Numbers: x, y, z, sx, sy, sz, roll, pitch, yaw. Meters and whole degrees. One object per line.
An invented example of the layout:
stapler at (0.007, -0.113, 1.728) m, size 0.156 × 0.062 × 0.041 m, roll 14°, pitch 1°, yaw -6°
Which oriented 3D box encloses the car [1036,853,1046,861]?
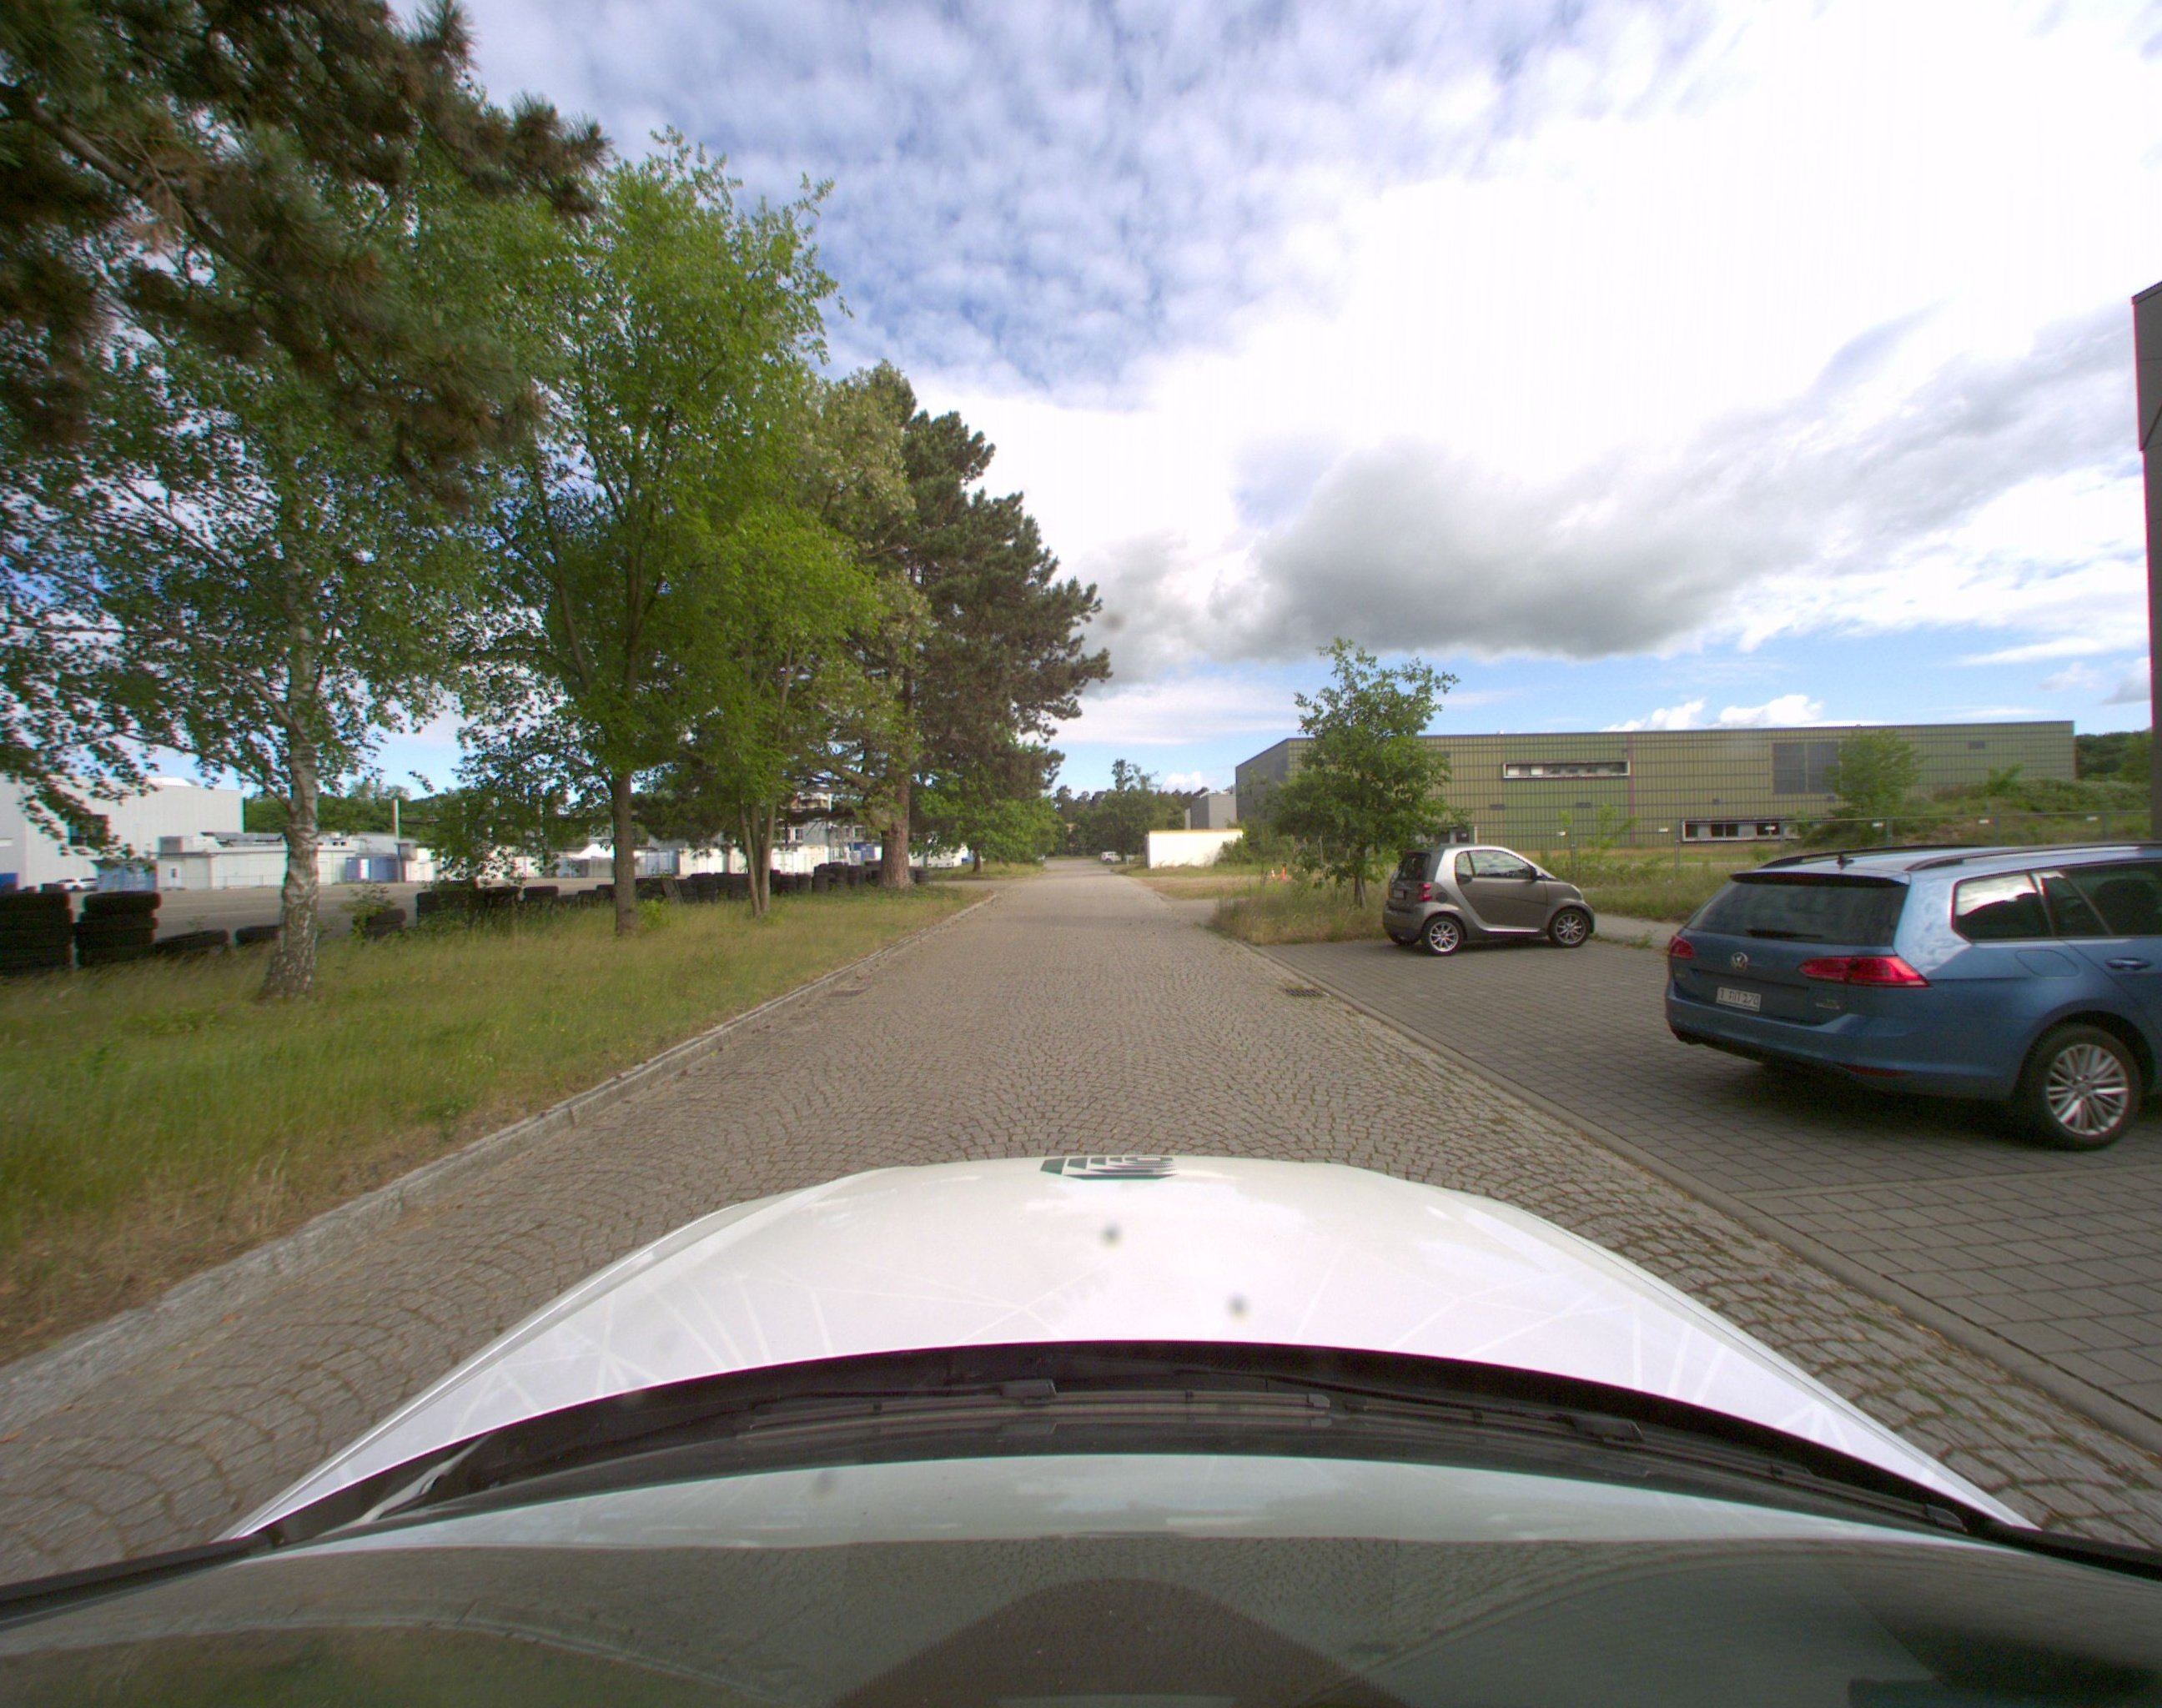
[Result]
car at (-7.584, 0.546, 153.566) m, size 1.745 × 1.454 × 3.996 m, roll -2°, pitch 0°, yaw -3°

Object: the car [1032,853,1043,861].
car at (-7.659, 0.569, 143.365) m, size 1.745 × 1.364 × 3.996 m, roll -2°, pitch 0°, yaw -3°

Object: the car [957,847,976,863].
car at (-18.482, 0.186, 131.603) m, size 1.985 × 2.523 × 5.622 m, roll -2°, pitch 0°, yaw 3°

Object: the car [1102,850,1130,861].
car at (5.154, 0.217, 119.603) m, size 3.974 × 1.455 × 1.999 m, roll -1°, pitch -1°, yaw -1°

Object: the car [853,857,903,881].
car at (-13.328, 0.964, 53.737) m, size 1.815 × 1.431 × 4.225 m, roll -1°, pitch 0°, yaw 6°

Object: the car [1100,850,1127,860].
car at (4.849, 0.157, 121.767) m, size 3.974 × 1.455 × 1.697 m, roll -2°, pitch 0°, yaw -1°

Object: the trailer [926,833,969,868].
trailer at (-14.958, -0.408, 91.999) m, size 2.646 × 3.705 × 10.727 m, roll -2°, pitch 0°, yaw 2°

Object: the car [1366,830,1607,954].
car at (5.997, 0.530, 12.291) m, size 2.733 × 1.582 × 1.682 m, roll -4°, pitch 0°, yaw -1°

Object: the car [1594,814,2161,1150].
car at (6.010, 0.560, 5.005) m, size 4.514 × 1.450 × 1.930 m, roll -4°, pitch 0°, yaw -3°
